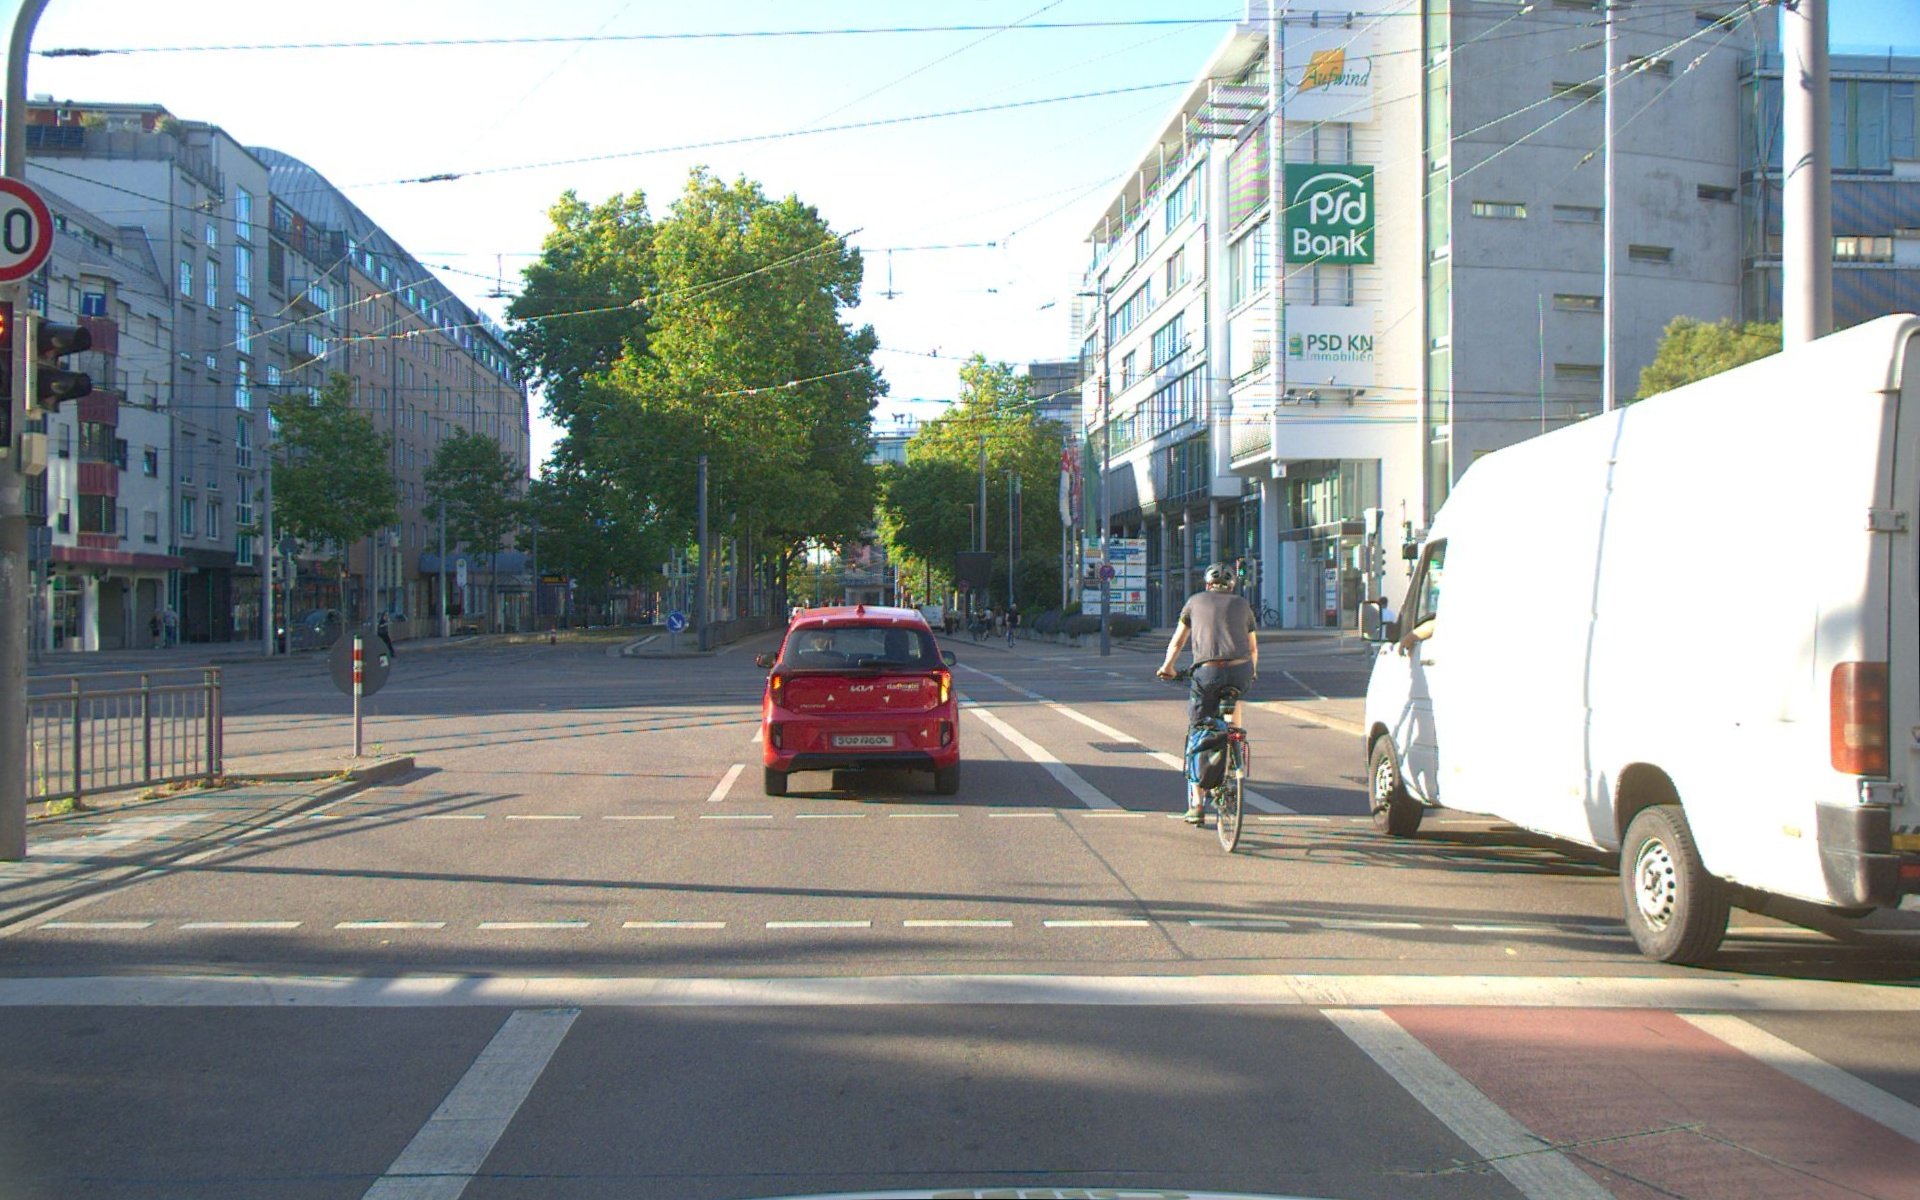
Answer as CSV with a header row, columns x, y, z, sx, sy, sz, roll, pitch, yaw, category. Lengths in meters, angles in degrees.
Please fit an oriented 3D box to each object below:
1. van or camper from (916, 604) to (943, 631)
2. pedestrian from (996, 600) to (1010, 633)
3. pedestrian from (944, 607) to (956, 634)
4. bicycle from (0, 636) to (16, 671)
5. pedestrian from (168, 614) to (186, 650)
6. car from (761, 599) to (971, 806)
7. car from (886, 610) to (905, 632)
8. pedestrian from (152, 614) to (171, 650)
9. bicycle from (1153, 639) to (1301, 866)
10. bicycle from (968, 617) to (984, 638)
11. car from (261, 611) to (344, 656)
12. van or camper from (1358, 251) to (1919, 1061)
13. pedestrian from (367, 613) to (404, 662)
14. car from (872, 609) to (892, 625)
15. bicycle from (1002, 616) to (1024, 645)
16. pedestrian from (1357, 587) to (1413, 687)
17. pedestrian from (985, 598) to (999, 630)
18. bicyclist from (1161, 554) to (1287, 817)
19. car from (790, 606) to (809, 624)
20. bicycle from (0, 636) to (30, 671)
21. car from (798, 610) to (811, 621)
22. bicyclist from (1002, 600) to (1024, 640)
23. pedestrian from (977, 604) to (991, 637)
x,y,z,sx,sy,sz,roll,pitch,yaw,category
-2.387,1.370,128.687,1.954,2.024,4.741,0,-1,-3,van or camper
2.420,0.947,93.035,0.530,1.827,0.905,-3,0,-7,pedestrian
-0.655,1.272,103.559,0.629,1.607,0.723,-4,0,-1,pedestrian
-28.722,1.584,48.433,1.808,1.002,0.552,0,0,-7,bicycle
-33.011,1.354,69.713,0.524,1.520,0.586,-1,0,-8,pedestrian
-0.835,0.784,14.218,1.581,1.561,3.408,0,0,-4,car
-5.366,1.740,137.569,1.603,1.831,3.328,-1,0,-3,car
-33.563,1.343,69.517,0.524,1.520,0.586,-1,0,-8,pedestrian
1.704,0.931,10.823,0.636,1.303,1.966,-1,0,0,bicycle
0.818,1.431,85.693,0.511,0.991,2.198,-4,0,-6,bicycle
-25.953,1.301,65.435,1.917,1.702,4.256,0,0,-5,car
4.001,0.208,8.851,1.929,2.764,6.301,1,0,-3,van or camper
-18.902,1.232,54.417,1.027,1.571,0.692,-1,0,-11,pedestrian
-8.129,1.773,171.684,1.745,1.561,3.504,0,0,-9,car
2.210,1.281,68.849,0.683,1.117,1.749,-4,0,-4,bicycle
8.106,0.699,31.586,0.761,1.855,1.216,-1,0,2,pedestrian
1.786,0.793,92.472,0.553,1.732,0.905,-3,0,-7,pedestrian
1.708,0.534,10.845,0.636,1.631,1.089,-1,0,0,bicyclist
-17.794,1.654,183.393,1.956,2.049,3.993,0,0,-7,car
-28.655,1.584,49.048,1.808,1.002,0.552,0,0,-7,bicycle
-23.656,2.371,252.253,1.745,1.561,3.404,0,0,-9,car
2.189,0.821,68.830,0.708,1.631,1.087,-3,0,-5,bicyclist
1.257,1.077,85.802,0.634,1.710,0.650,-1,0,-6,pedestrian
